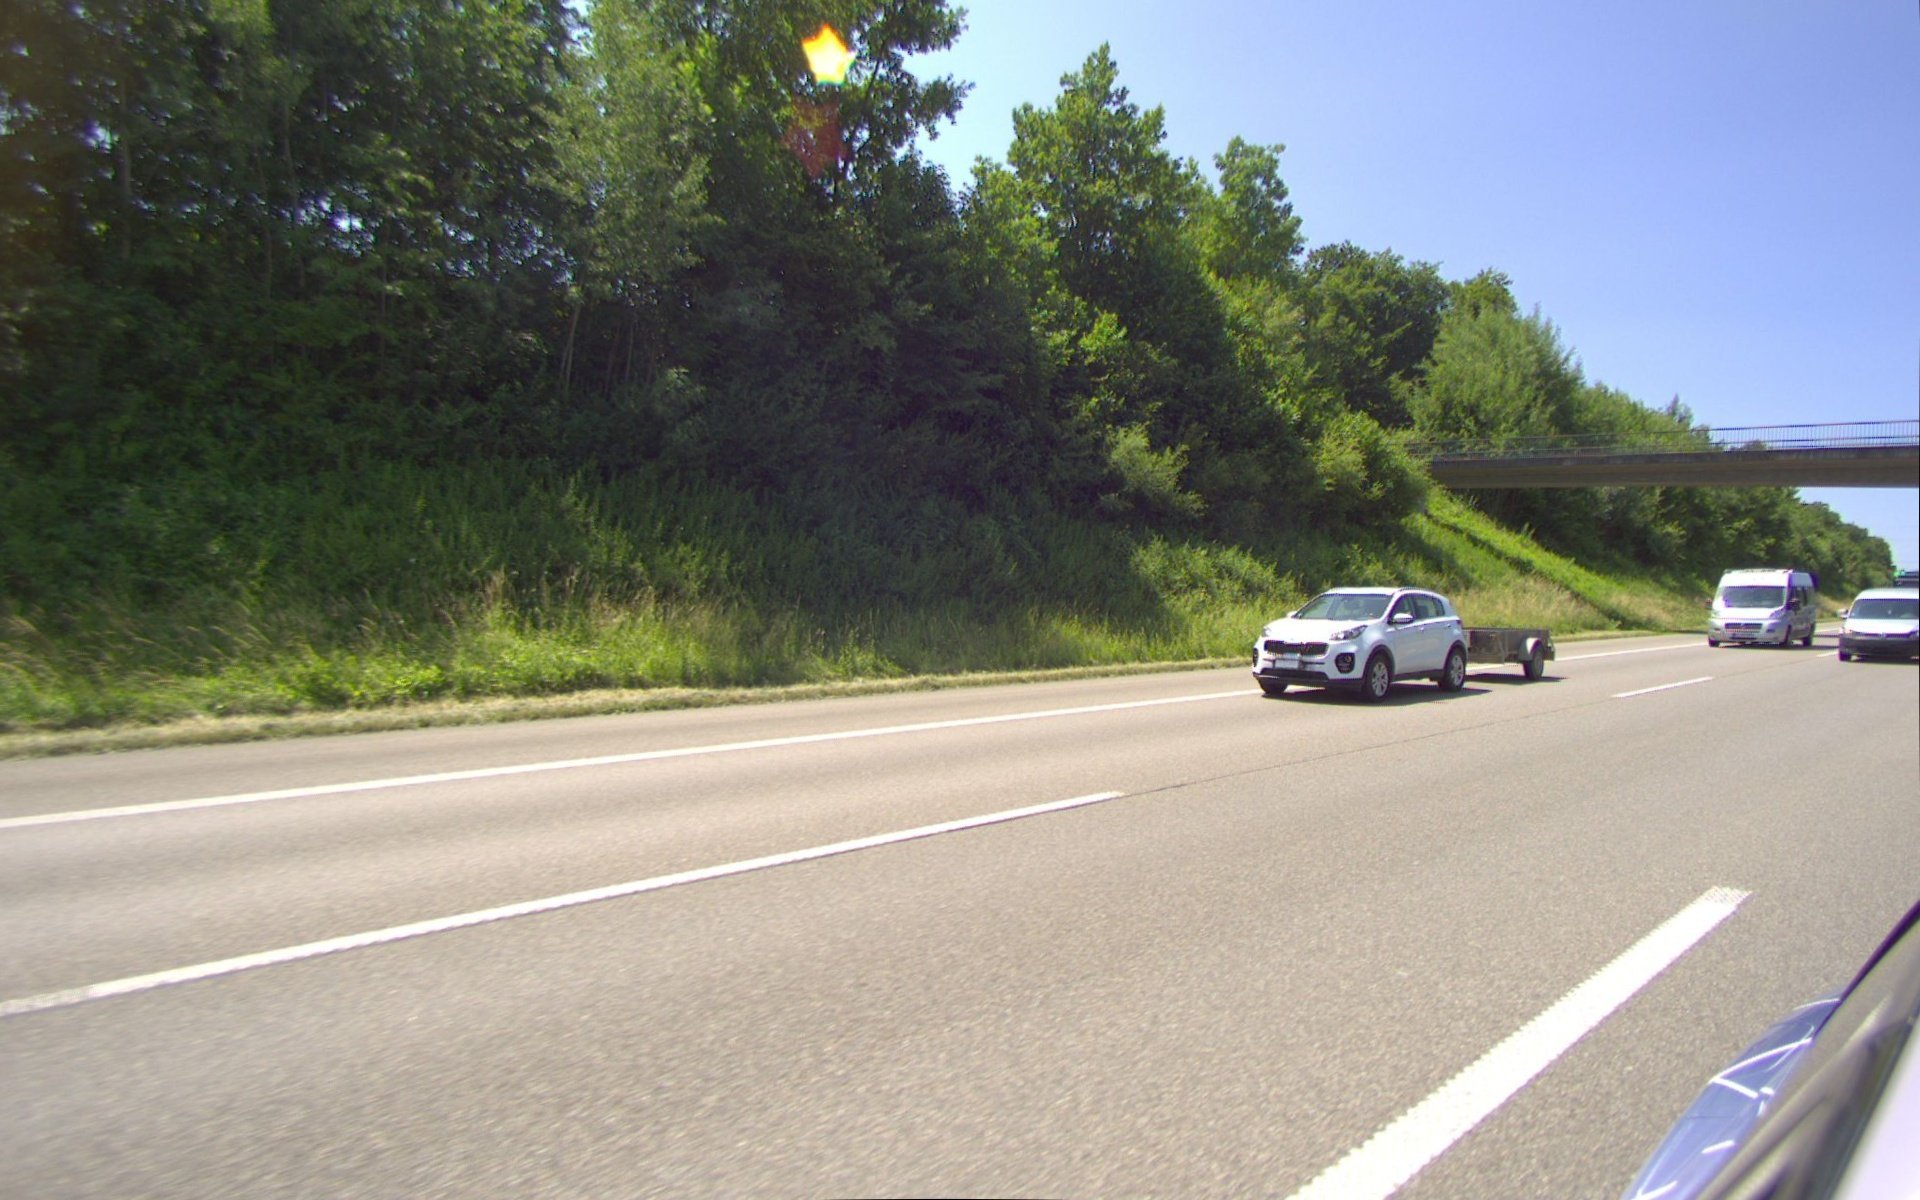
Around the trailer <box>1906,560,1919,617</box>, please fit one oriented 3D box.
[{"bbox_3d":[73.192,-0.745,76.069,10.296,4.079,2.589,2,-1,-44],"label":"trailer"}]

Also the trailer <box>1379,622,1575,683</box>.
[{"bbox_3d":[9.559,0.903,18.562,4.244,0.920,1.757,0,0,-41],"label":"trailer"}]

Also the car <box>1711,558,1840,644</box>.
[{"bbox_3d":[26.969,0.087,33.366,6.503,2.609,2.093,1,-1,-40],"label":"car"}]

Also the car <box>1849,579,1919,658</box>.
[{"bbox_3d":[23.934,0.434,25.687,4.722,1.853,1.747,0,0,-45],"label":"car"}]

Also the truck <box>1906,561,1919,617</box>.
[{"bbox_3d":[69.442,-0.728,72.356,2.510,3.891,4.813,0,-1,45],"label":"truck"}]

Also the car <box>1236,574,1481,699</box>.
[{"bbox_3d":[6.278,0.519,15.696,4.326,1.672,1.784,1,-1,-42],"label":"car"}]
